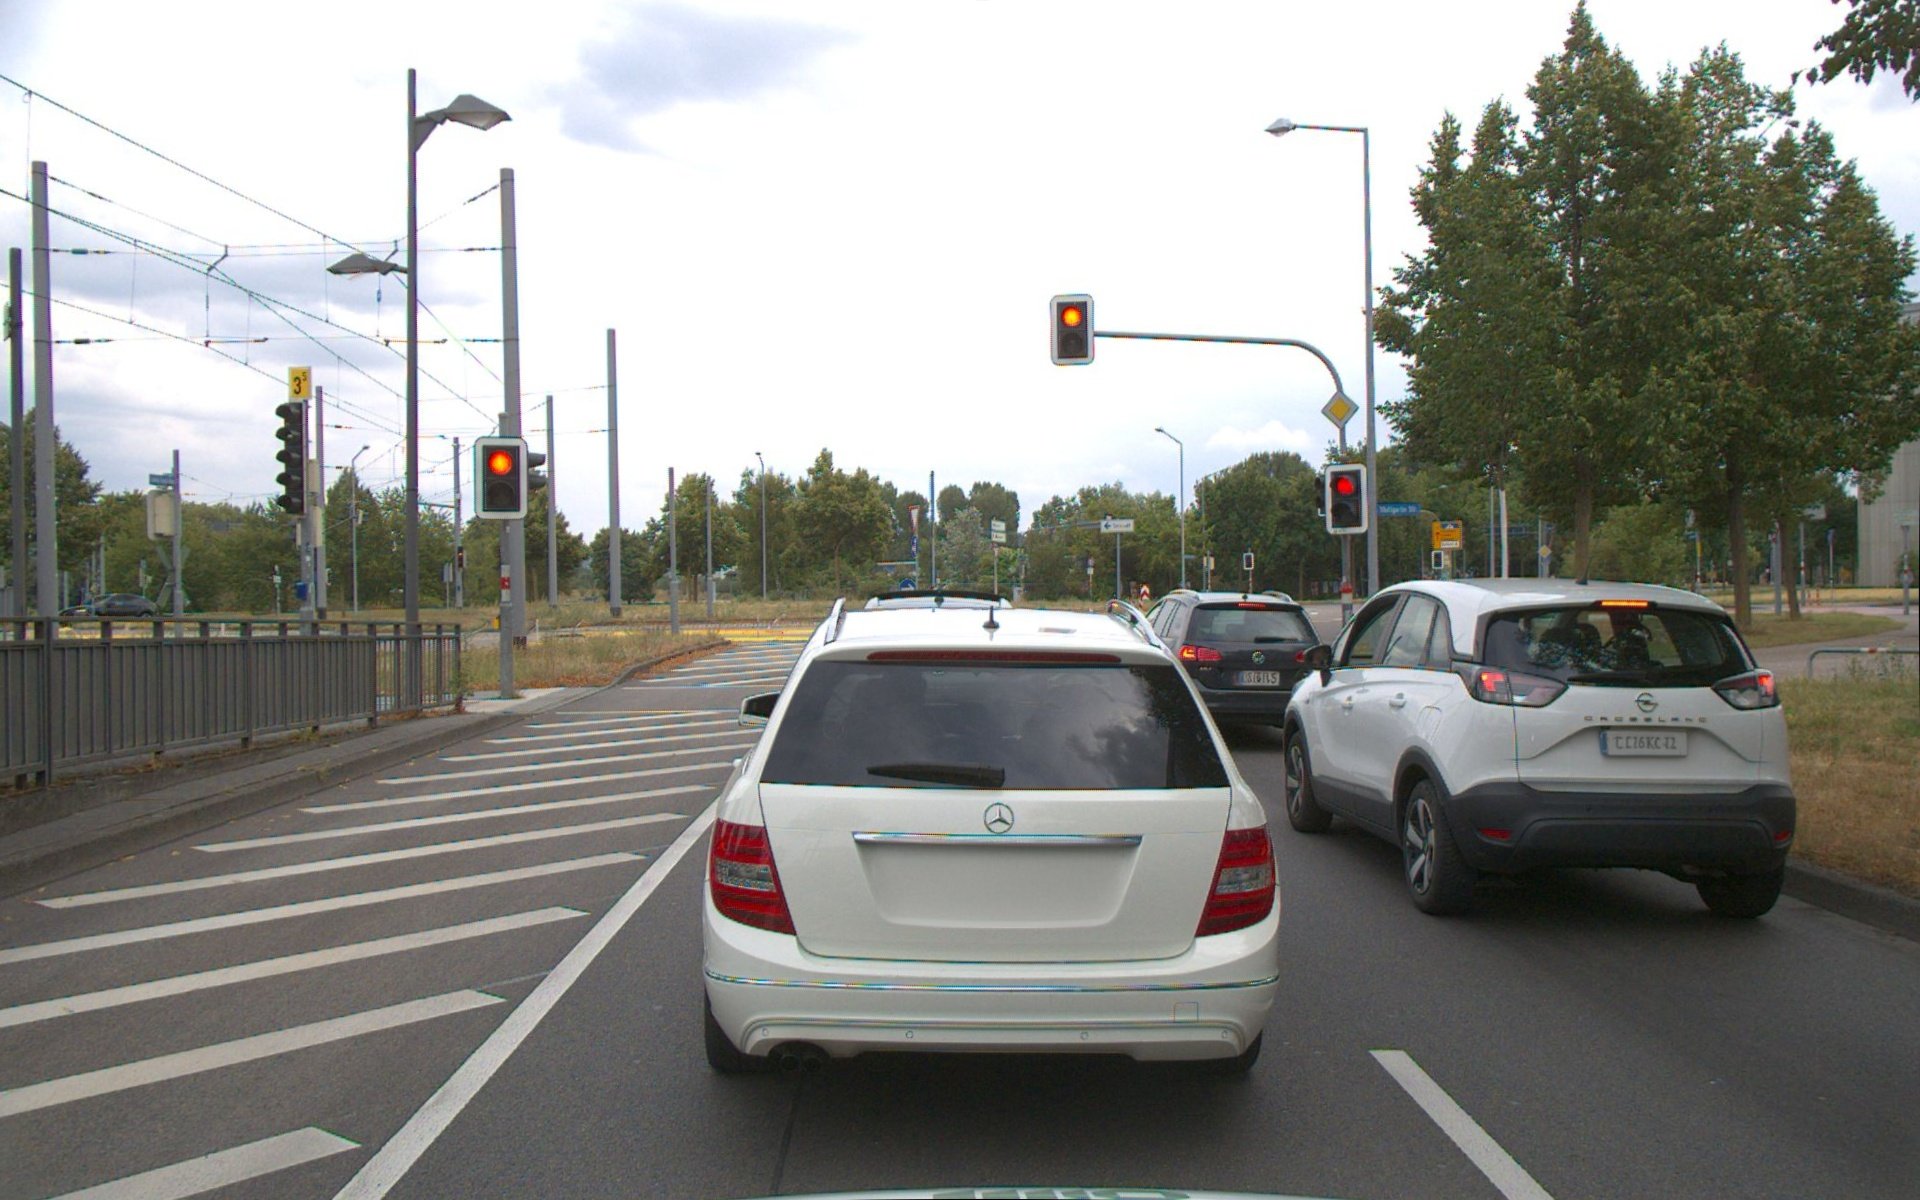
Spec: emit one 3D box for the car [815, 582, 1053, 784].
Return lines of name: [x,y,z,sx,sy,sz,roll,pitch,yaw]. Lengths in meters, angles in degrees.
car: [-0.279,0.596,14.132,1.738,1.474,3.908,1,0,-3]

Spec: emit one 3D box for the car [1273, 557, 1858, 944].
car: [3.006,0.635,9.141,1.751,1.653,3.910,-1,0,-1]

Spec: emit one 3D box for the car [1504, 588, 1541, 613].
car: [44.192,0.029,129.824,1.957,1.822,3.991,1,0,31]

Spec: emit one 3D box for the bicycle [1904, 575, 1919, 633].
bicycle: [21.745,0.067,36.714,0.889,1.256,2.254,0,1,42]

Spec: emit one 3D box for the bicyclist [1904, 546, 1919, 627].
bicyclist: [21.665,-0.333,36.648,0.983,1.767,1.122,-3,1,44]

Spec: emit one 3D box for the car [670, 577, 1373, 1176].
car: [0.073,0.671,6.065,1.738,1.474,3.908,1,0,-3]

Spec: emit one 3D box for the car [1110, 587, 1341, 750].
car: [2.622,0.618,17.169,1.592,1.474,3.908,1,0,-3]
